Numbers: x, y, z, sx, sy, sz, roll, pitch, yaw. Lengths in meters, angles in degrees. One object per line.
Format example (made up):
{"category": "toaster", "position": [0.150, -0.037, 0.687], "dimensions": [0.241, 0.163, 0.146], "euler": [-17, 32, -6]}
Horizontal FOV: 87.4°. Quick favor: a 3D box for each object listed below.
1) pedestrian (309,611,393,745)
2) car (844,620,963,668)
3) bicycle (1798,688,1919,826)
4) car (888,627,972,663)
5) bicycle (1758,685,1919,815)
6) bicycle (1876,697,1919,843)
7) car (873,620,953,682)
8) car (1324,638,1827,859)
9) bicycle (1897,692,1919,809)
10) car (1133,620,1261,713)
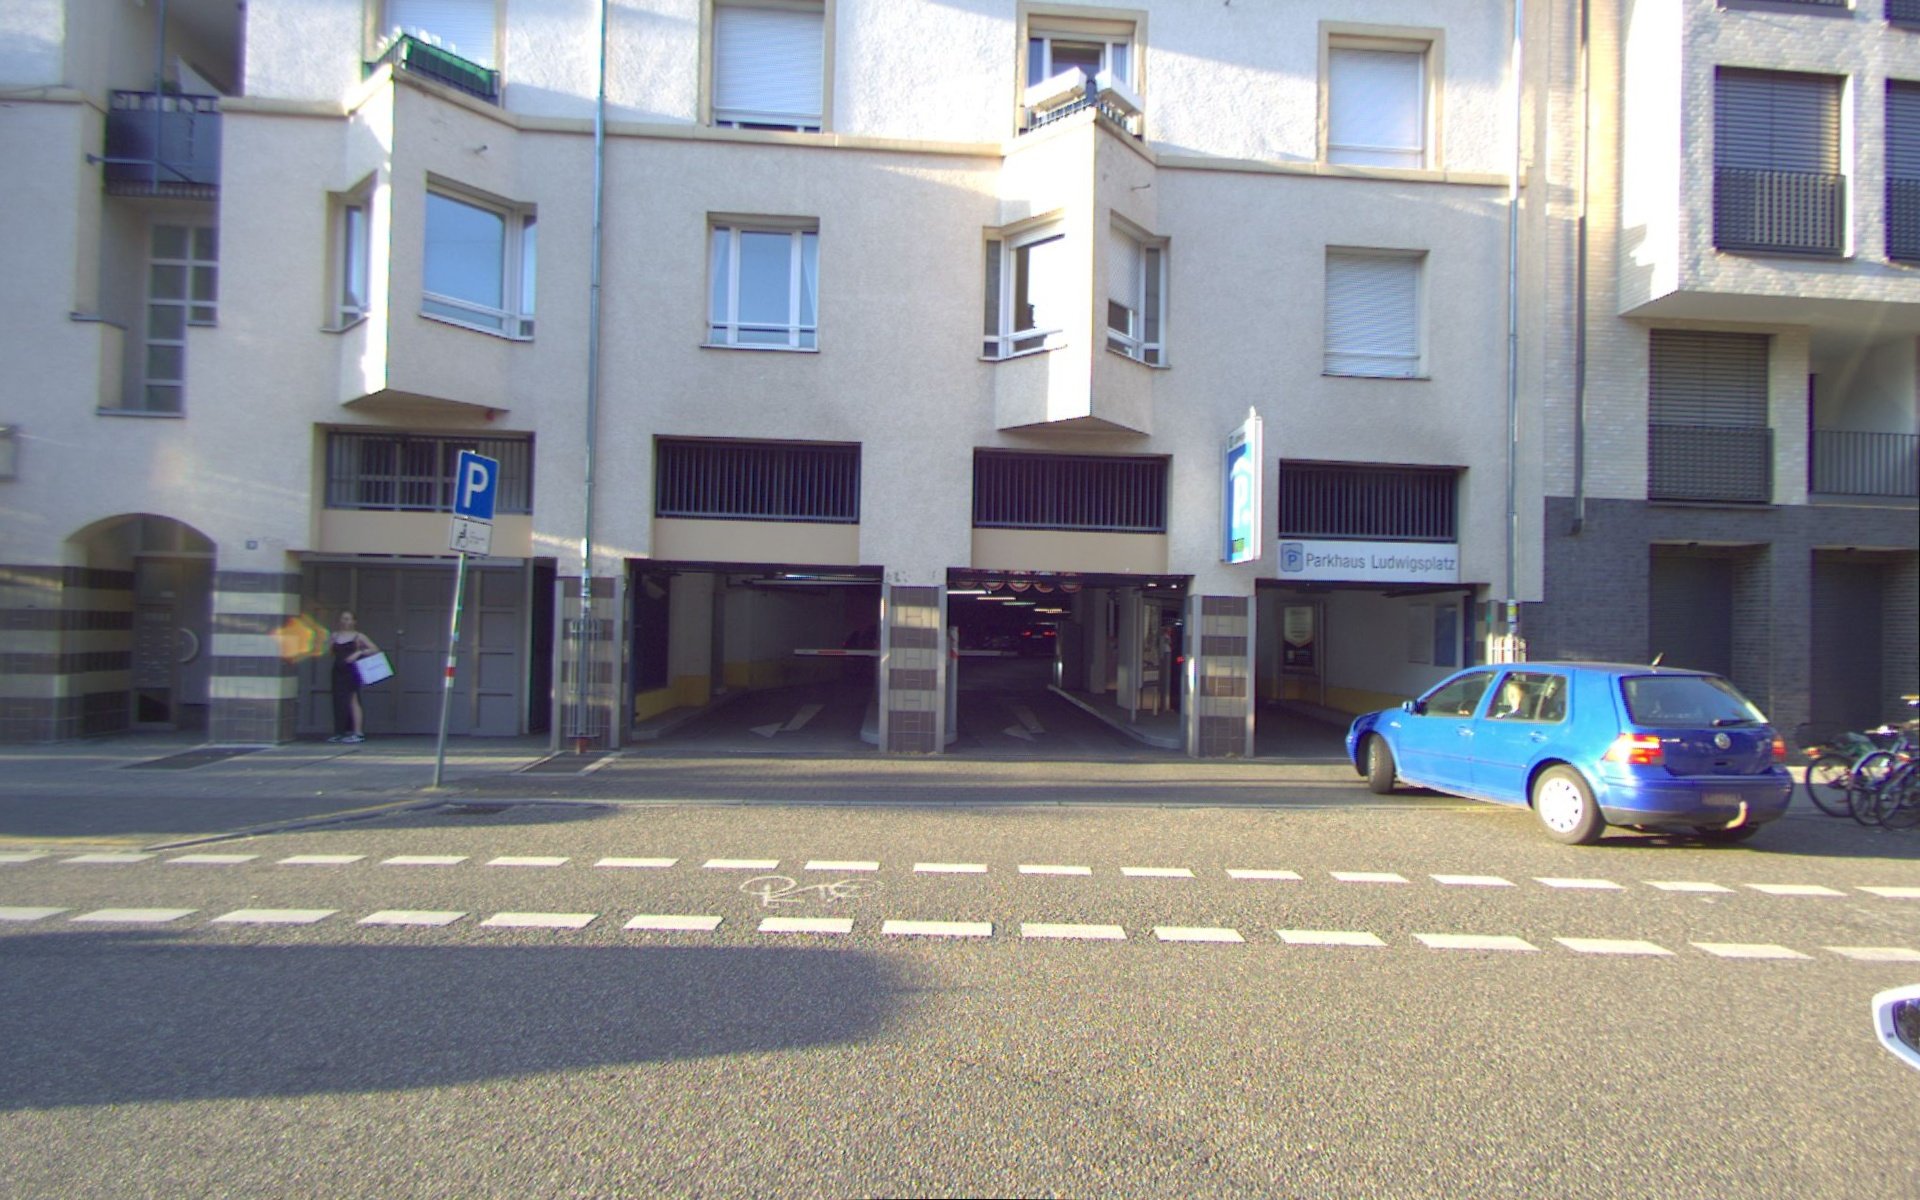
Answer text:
{"category": "pedestrian", "position": [-7.489, 0.947, 12.380], "dimensions": [0.768, 1.593, 0.530], "euler": [2, -2, -25]}
{"category": "car", "position": [-2.059, 1.642, 37.586], "dimensions": [4.214, 1.645, 1.892], "euler": [1, -2, 4]}
{"category": "bicycle", "position": [8.628, 1.443, 9.274], "dimensions": [1.522, 1.205, 0.387], "euler": [1, -1, -4]}
{"category": "car", "position": [-1.350, 1.920, 43.741], "dimensions": [1.596, 1.410, 3.835], "euler": [2, -1, -40]}
{"category": "bicycle", "position": [8.620, 1.453, 9.818], "dimensions": [1.378, 1.199, 0.388], "euler": [1, -1, -4]}
{"category": "bicycle", "position": [8.661, 1.439, 8.509], "dimensions": [1.522, 1.175, 0.382], "euler": [1, -1, -4]}
{"category": "car", "position": [-1.252, 1.390, 28.508], "dimensions": [1.782, 1.593, 4.253], "euler": [1, -1, 4]}
{"category": "car", "position": [5.304, 1.184, 9.412], "dimensions": [1.664, 1.583, 4.110], "euler": [2, -3, -12]}
{"category": "bicycle", "position": [10.305, 1.525, 10.041], "dimensions": [1.522, 1.147, 0.458], "euler": [1, -1, -4]}
{"category": "car", "position": [4.650, 1.258, 20.234], "dimensions": [1.530, 1.639, 3.880], "euler": [1, -1, -2]}
